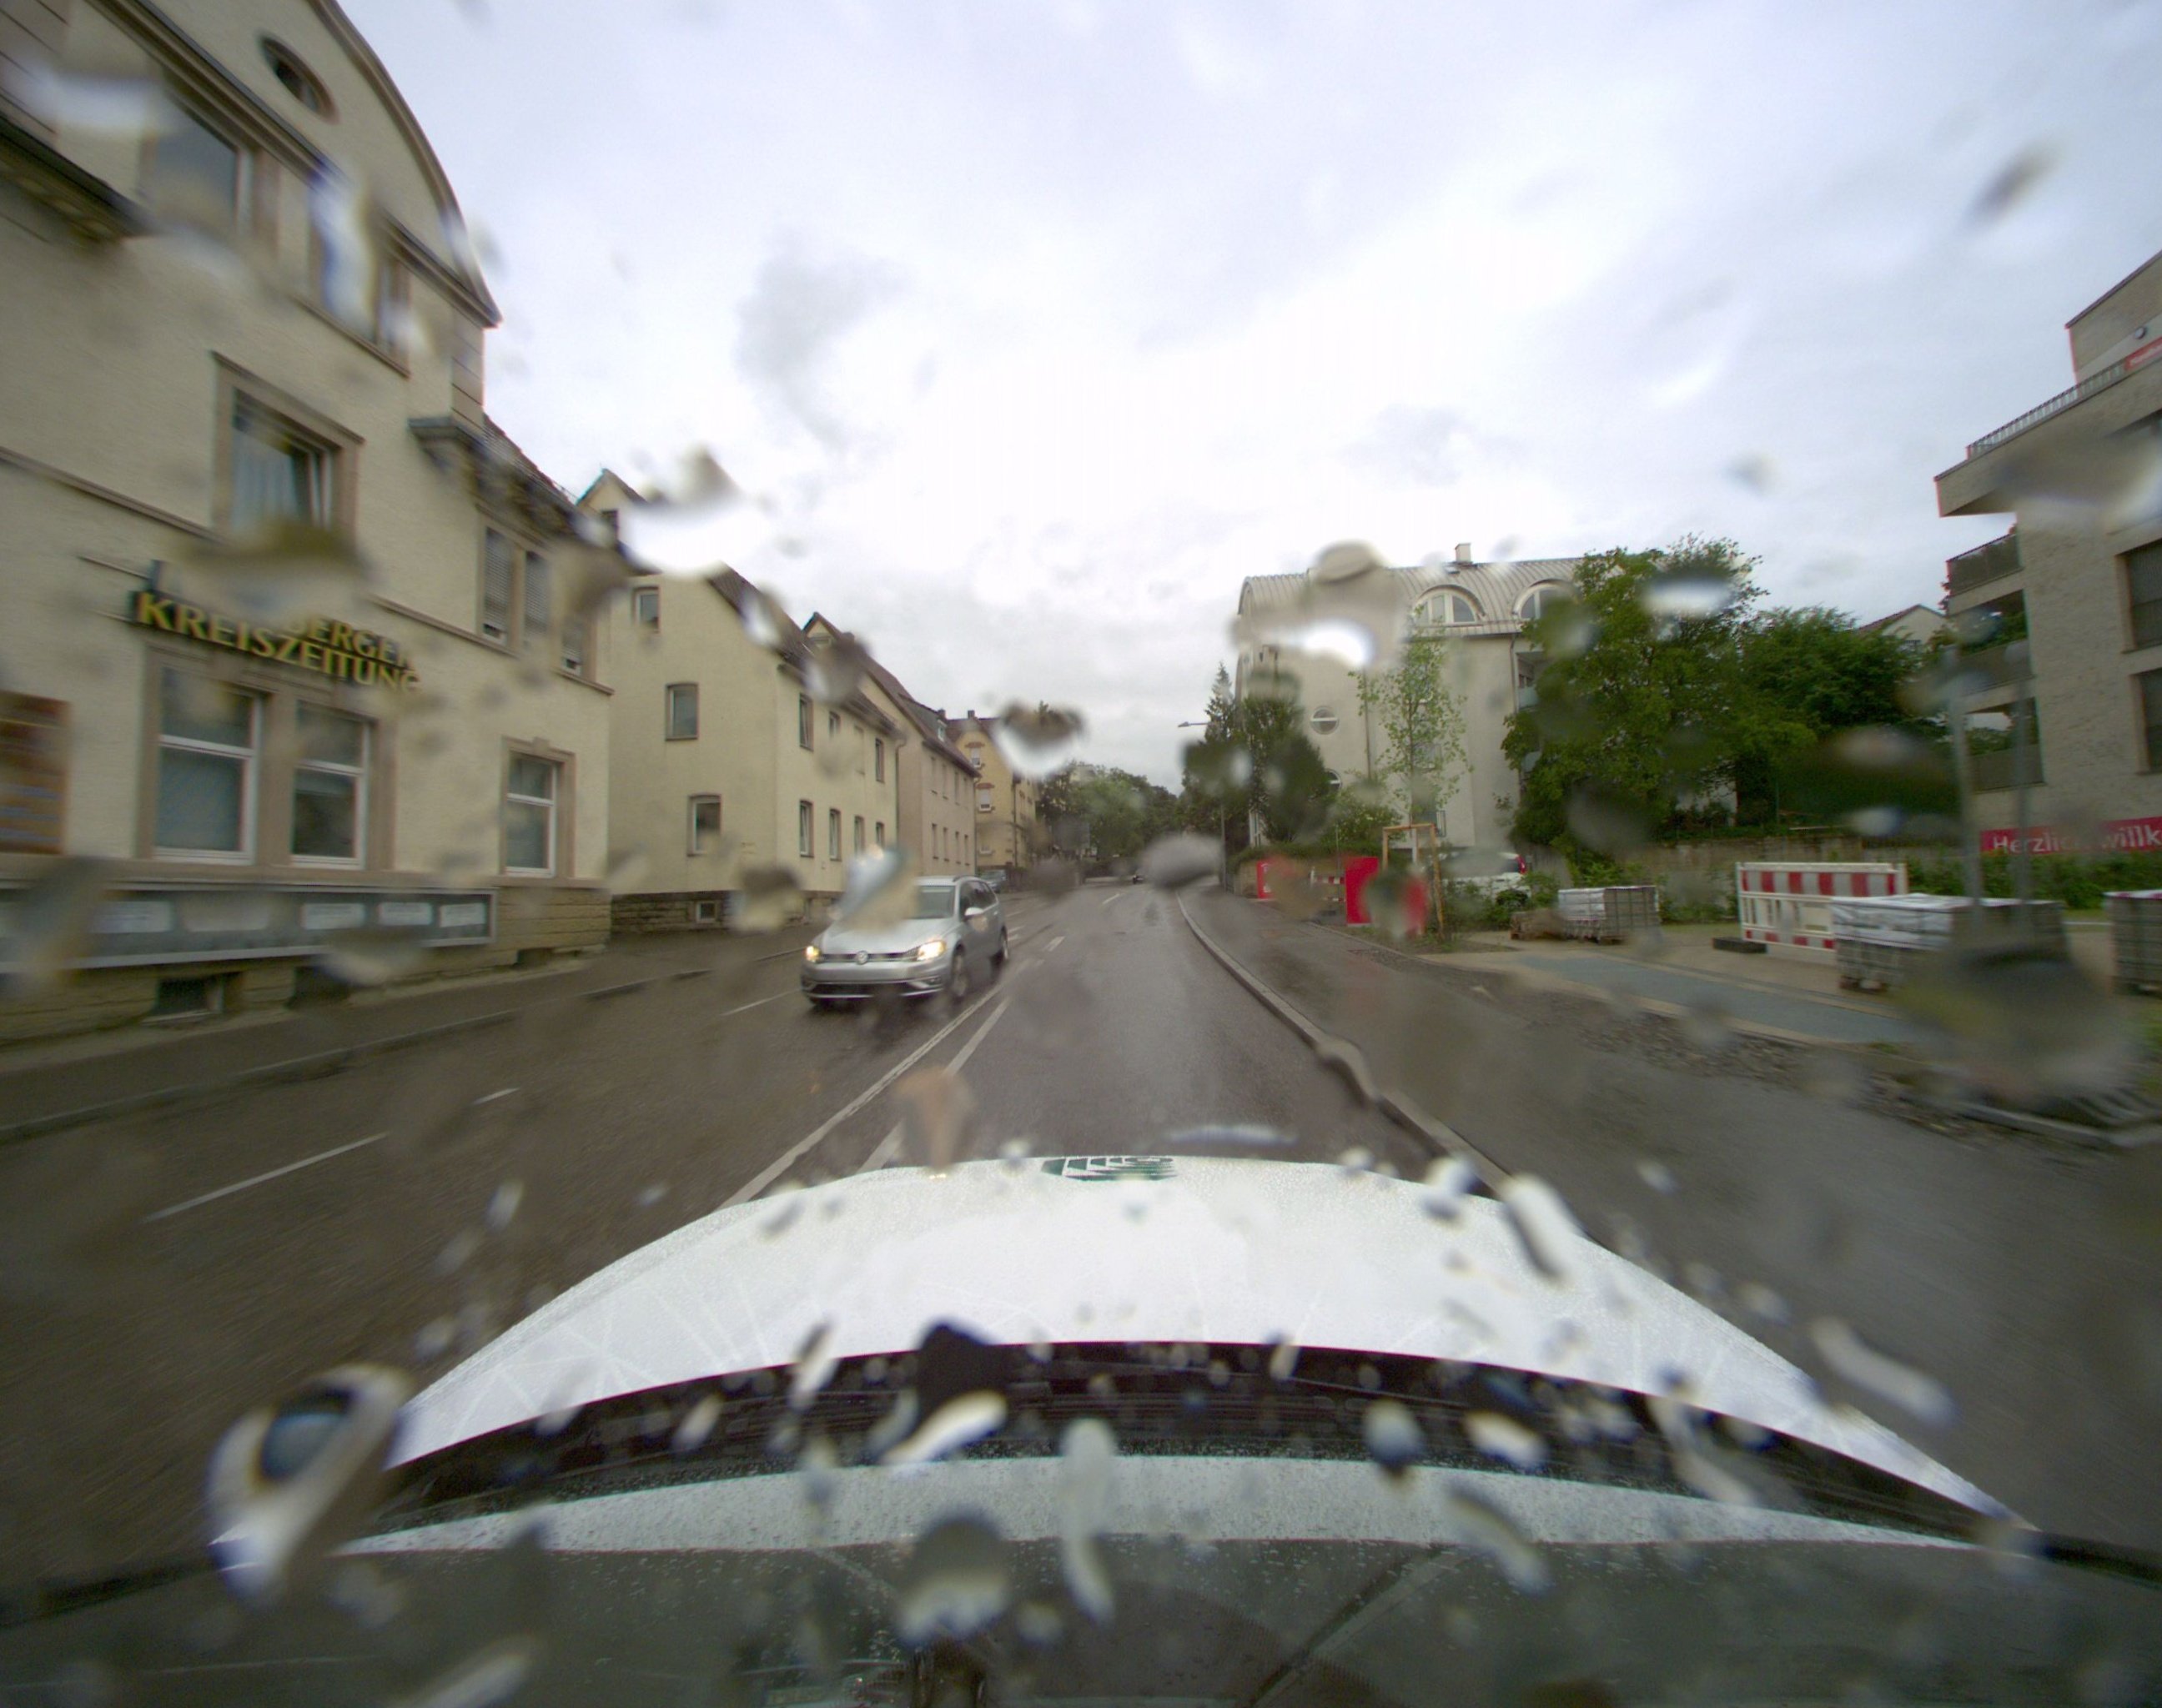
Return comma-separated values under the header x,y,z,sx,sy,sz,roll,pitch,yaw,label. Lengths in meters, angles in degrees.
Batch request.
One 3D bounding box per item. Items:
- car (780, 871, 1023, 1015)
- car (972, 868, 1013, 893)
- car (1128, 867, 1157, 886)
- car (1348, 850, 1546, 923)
x,y,z,sx,sy,sz,roll,pitch,yaw,label
-2.084,1.001,10.990,1.790,1.439,4.696,-2,-1,6,car
-5.634,1.684,52.207,1.761,1.503,3.890,-1,-1,7,car
5.477,1.992,72.697,1.731,1.572,3.830,1,-1,17,car
8.062,0.706,18.218,3.650,1.503,1.779,-1,-1,4,car
